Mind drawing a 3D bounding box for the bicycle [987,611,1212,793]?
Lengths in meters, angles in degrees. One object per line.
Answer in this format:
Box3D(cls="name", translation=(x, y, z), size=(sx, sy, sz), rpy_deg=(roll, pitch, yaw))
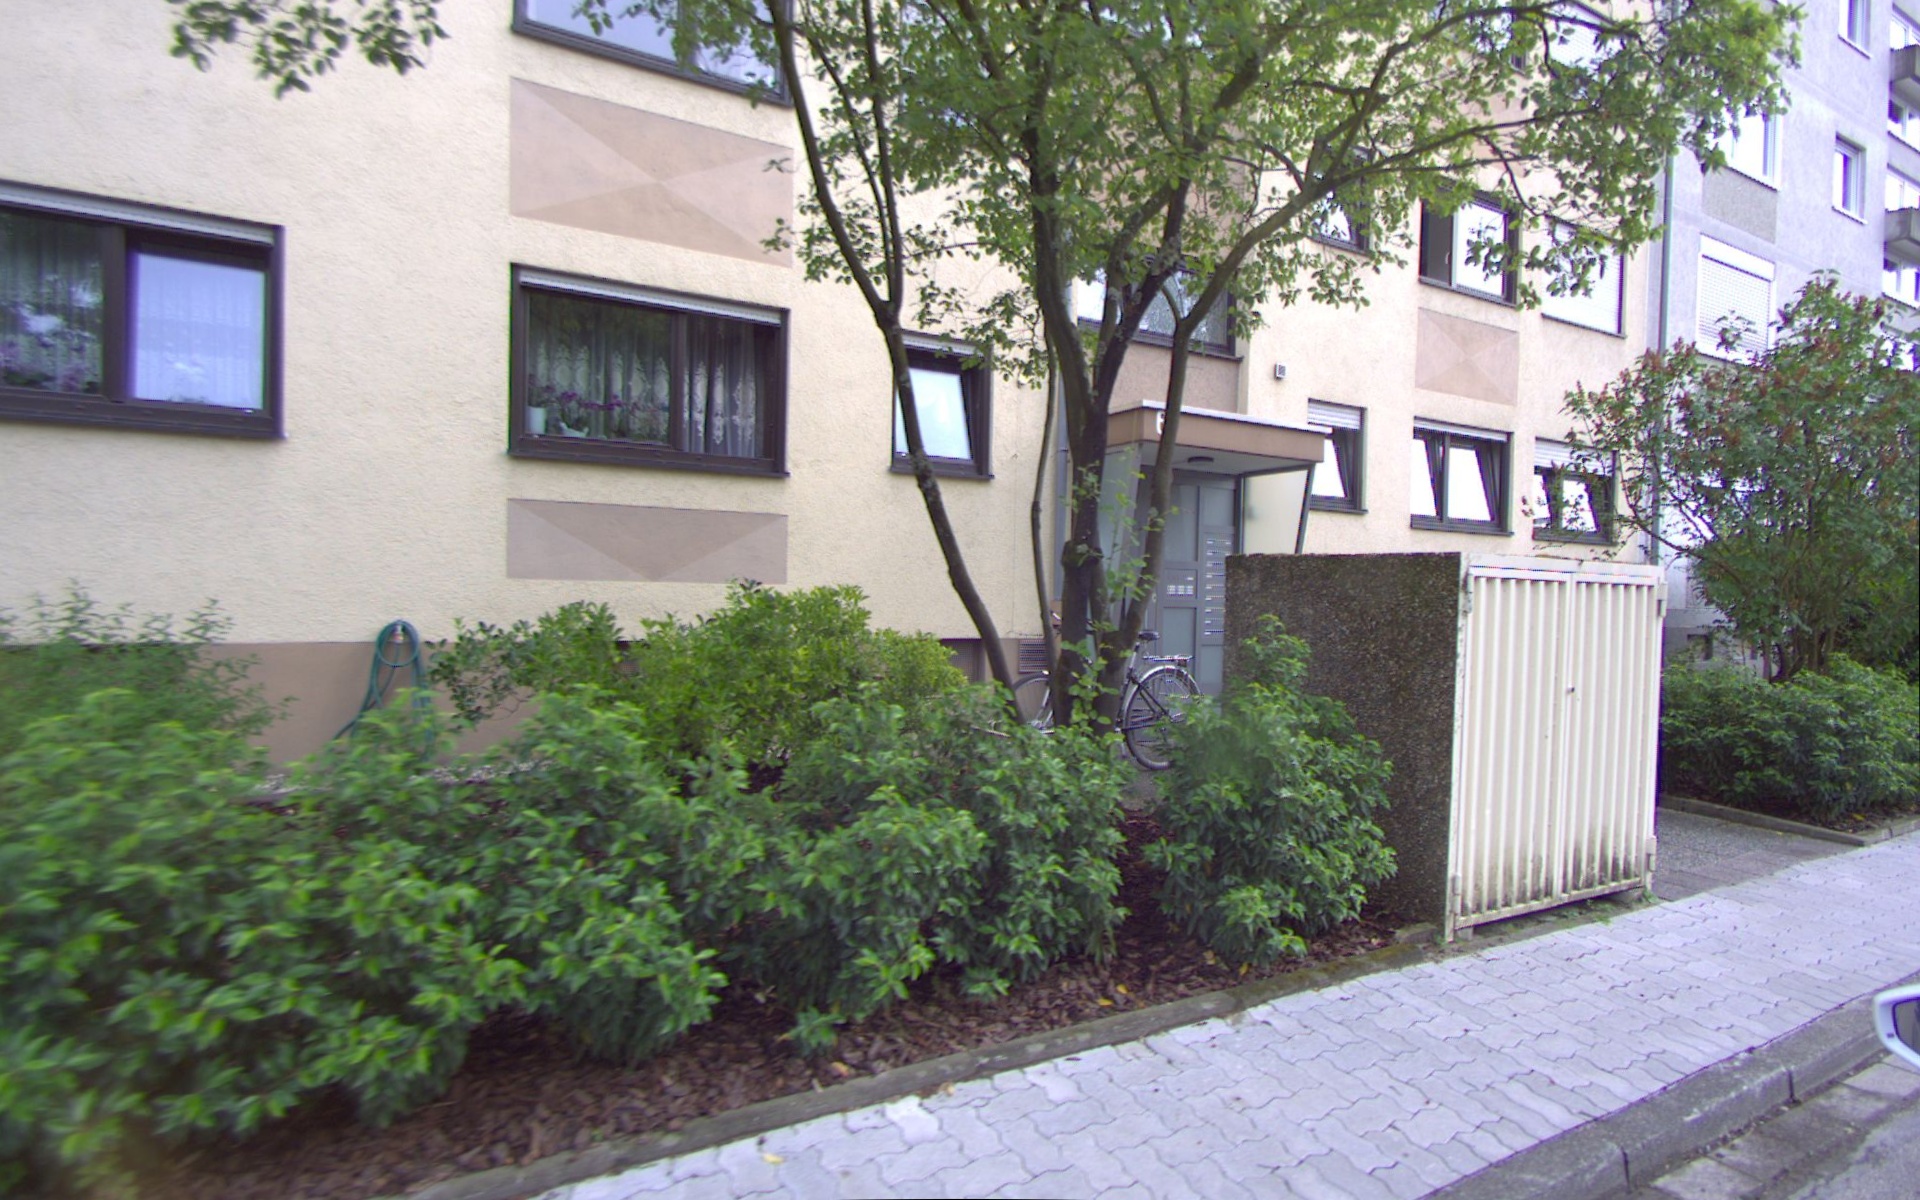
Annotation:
Box3D(cls="bicycle", translation=(0.970, 0.631, 6.718), size=(1.672, 1.066, 0.313), rpy_deg=(-1, 1, -32))
